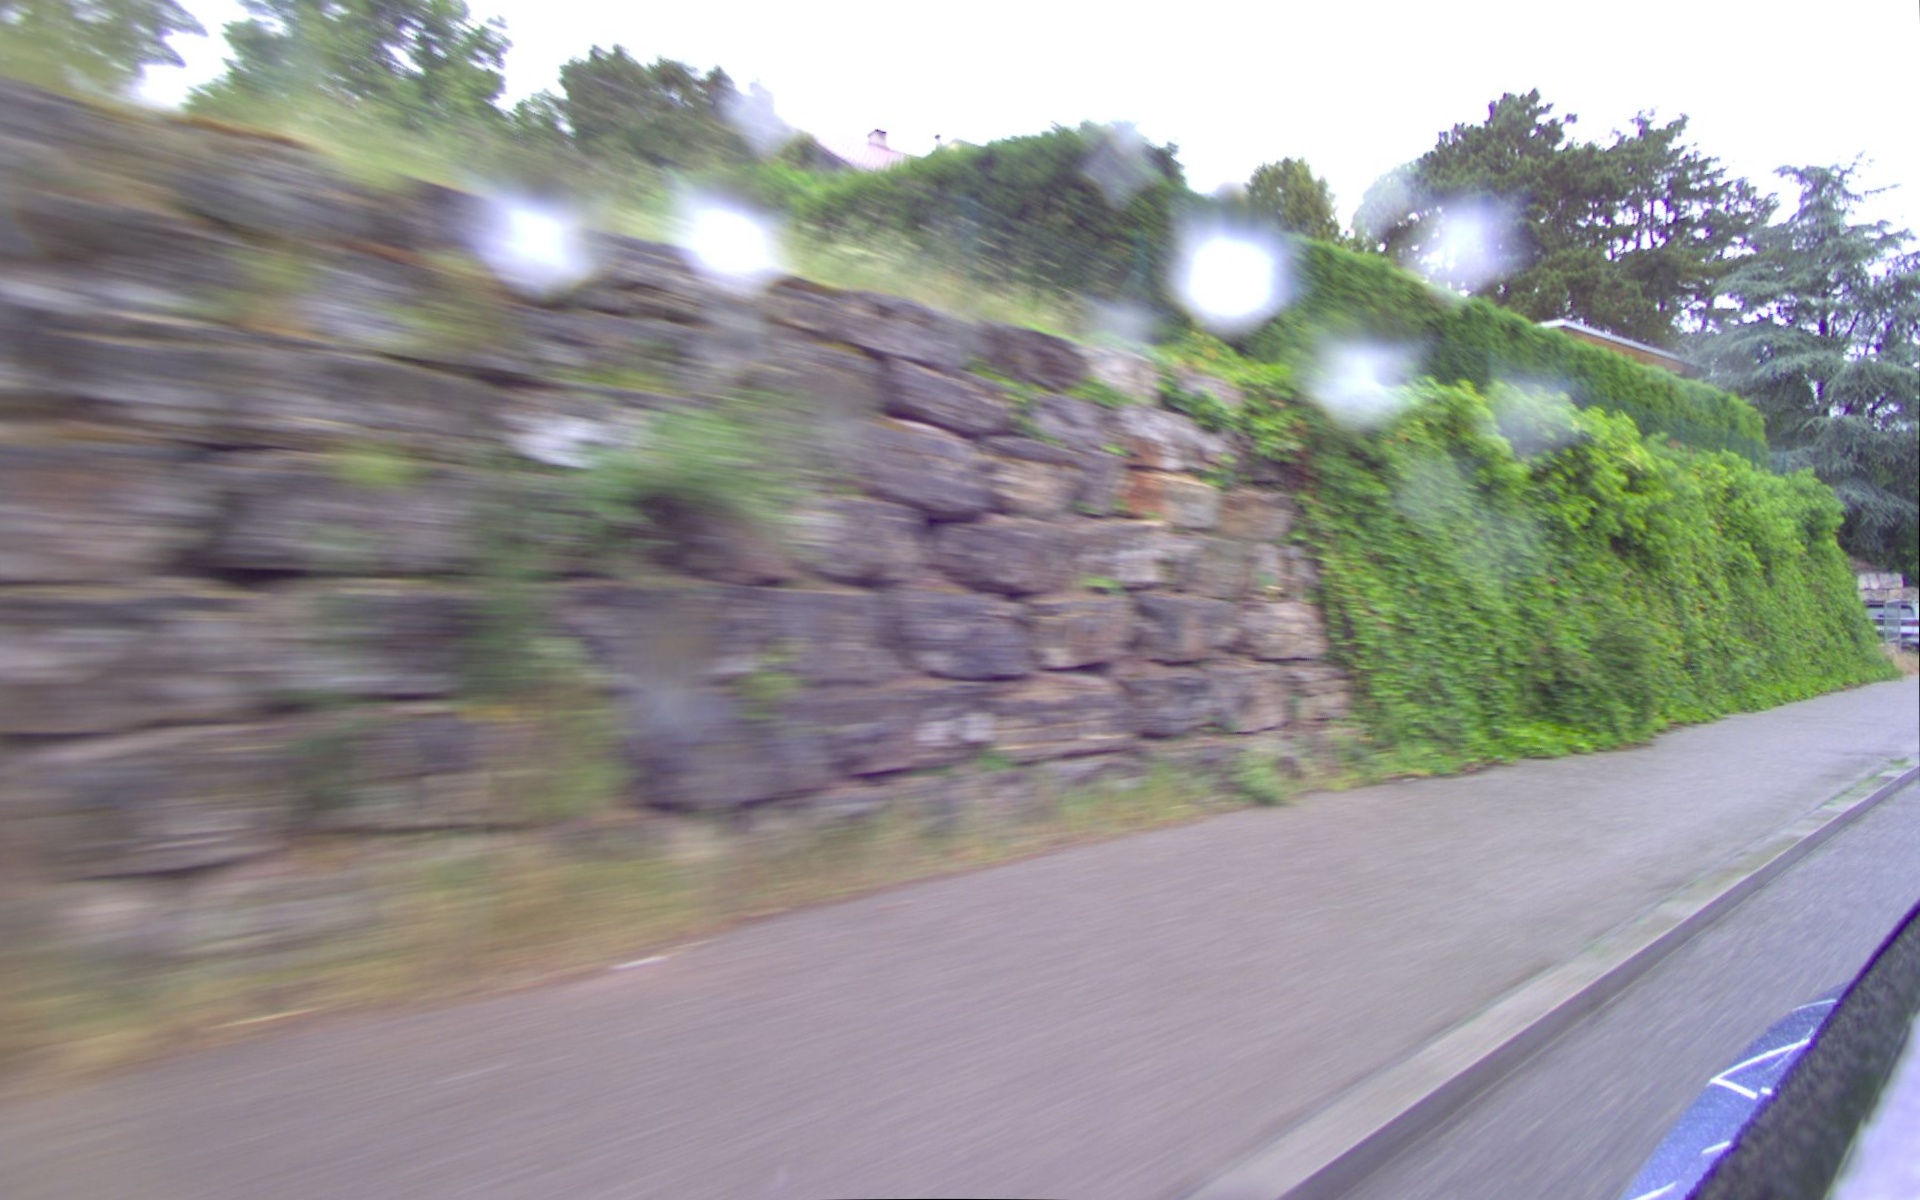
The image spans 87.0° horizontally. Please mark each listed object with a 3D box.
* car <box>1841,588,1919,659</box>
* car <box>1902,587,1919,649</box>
[{"bbox_3d":[23.279,0.524,24.714,3.935,1.583,1.816,0,2,-36],"label":"car"},{"bbox_3d":[28.187,0.503,28.337,4.462,1.691,1.999,0,2,-39],"label":"car"}]
